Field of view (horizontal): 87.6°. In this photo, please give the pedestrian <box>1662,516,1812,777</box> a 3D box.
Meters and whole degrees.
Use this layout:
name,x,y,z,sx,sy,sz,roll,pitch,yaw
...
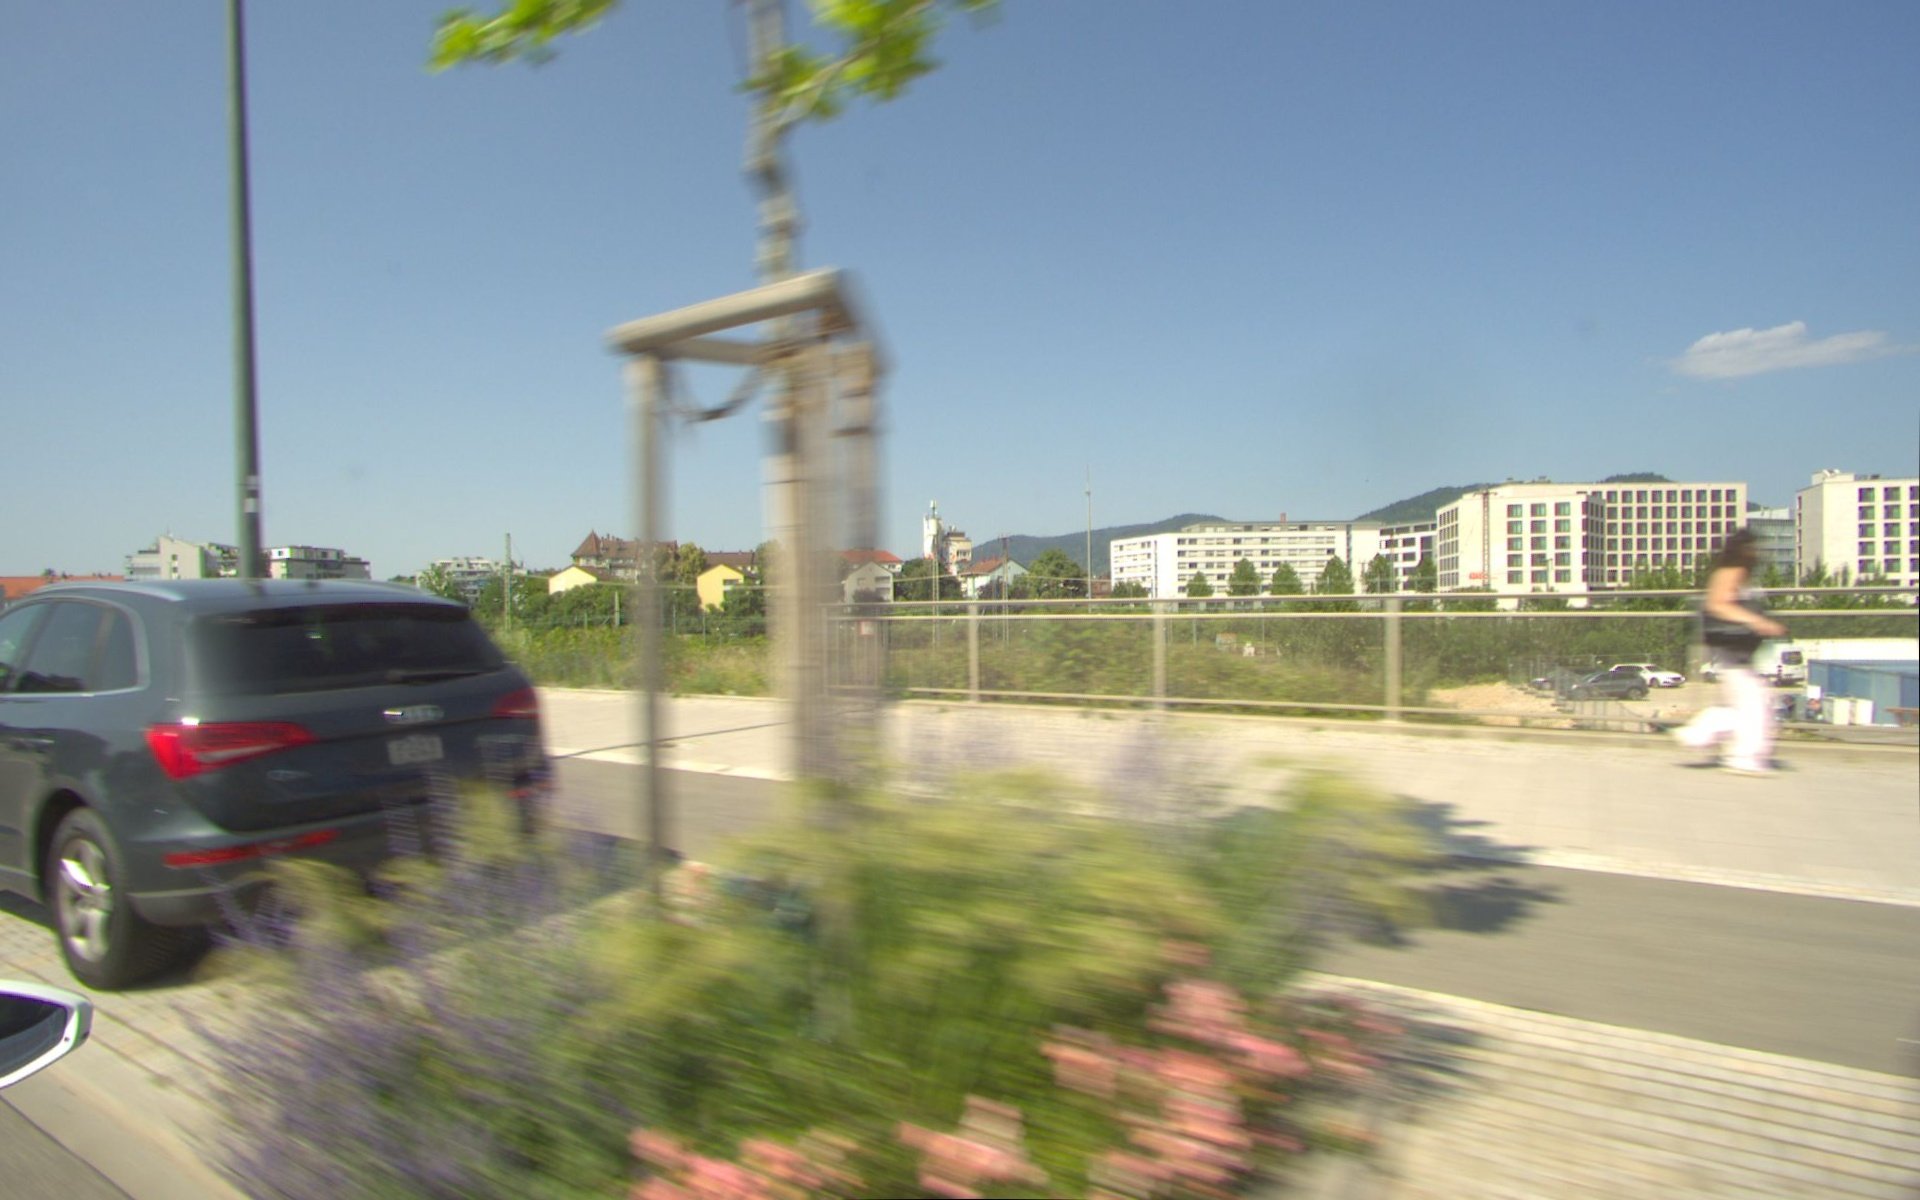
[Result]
name,x,y,z,sx,sy,sz,roll,pitch,yaw
pedestrian,5.511,0.322,7.155,0.731,1.727,0.779,-2,-1,33

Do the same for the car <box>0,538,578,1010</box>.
name,x,y,z,sx,sy,sz,roll,pitch,yaw
car,-4.125,0.608,5.269,4.179,1.630,1.731,-1,1,31

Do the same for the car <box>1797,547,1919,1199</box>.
name,x,y,z,sx,sy,sz,roll,pitch,yaw
car,3.209,0.643,0.716,3.762,1.512,1.601,-1,1,30

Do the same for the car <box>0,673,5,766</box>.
name,x,y,z,sx,sy,sz,roll,pitch,yaw
car,-11.124,0.874,9.714,4.179,1.448,1.629,-1,2,31
